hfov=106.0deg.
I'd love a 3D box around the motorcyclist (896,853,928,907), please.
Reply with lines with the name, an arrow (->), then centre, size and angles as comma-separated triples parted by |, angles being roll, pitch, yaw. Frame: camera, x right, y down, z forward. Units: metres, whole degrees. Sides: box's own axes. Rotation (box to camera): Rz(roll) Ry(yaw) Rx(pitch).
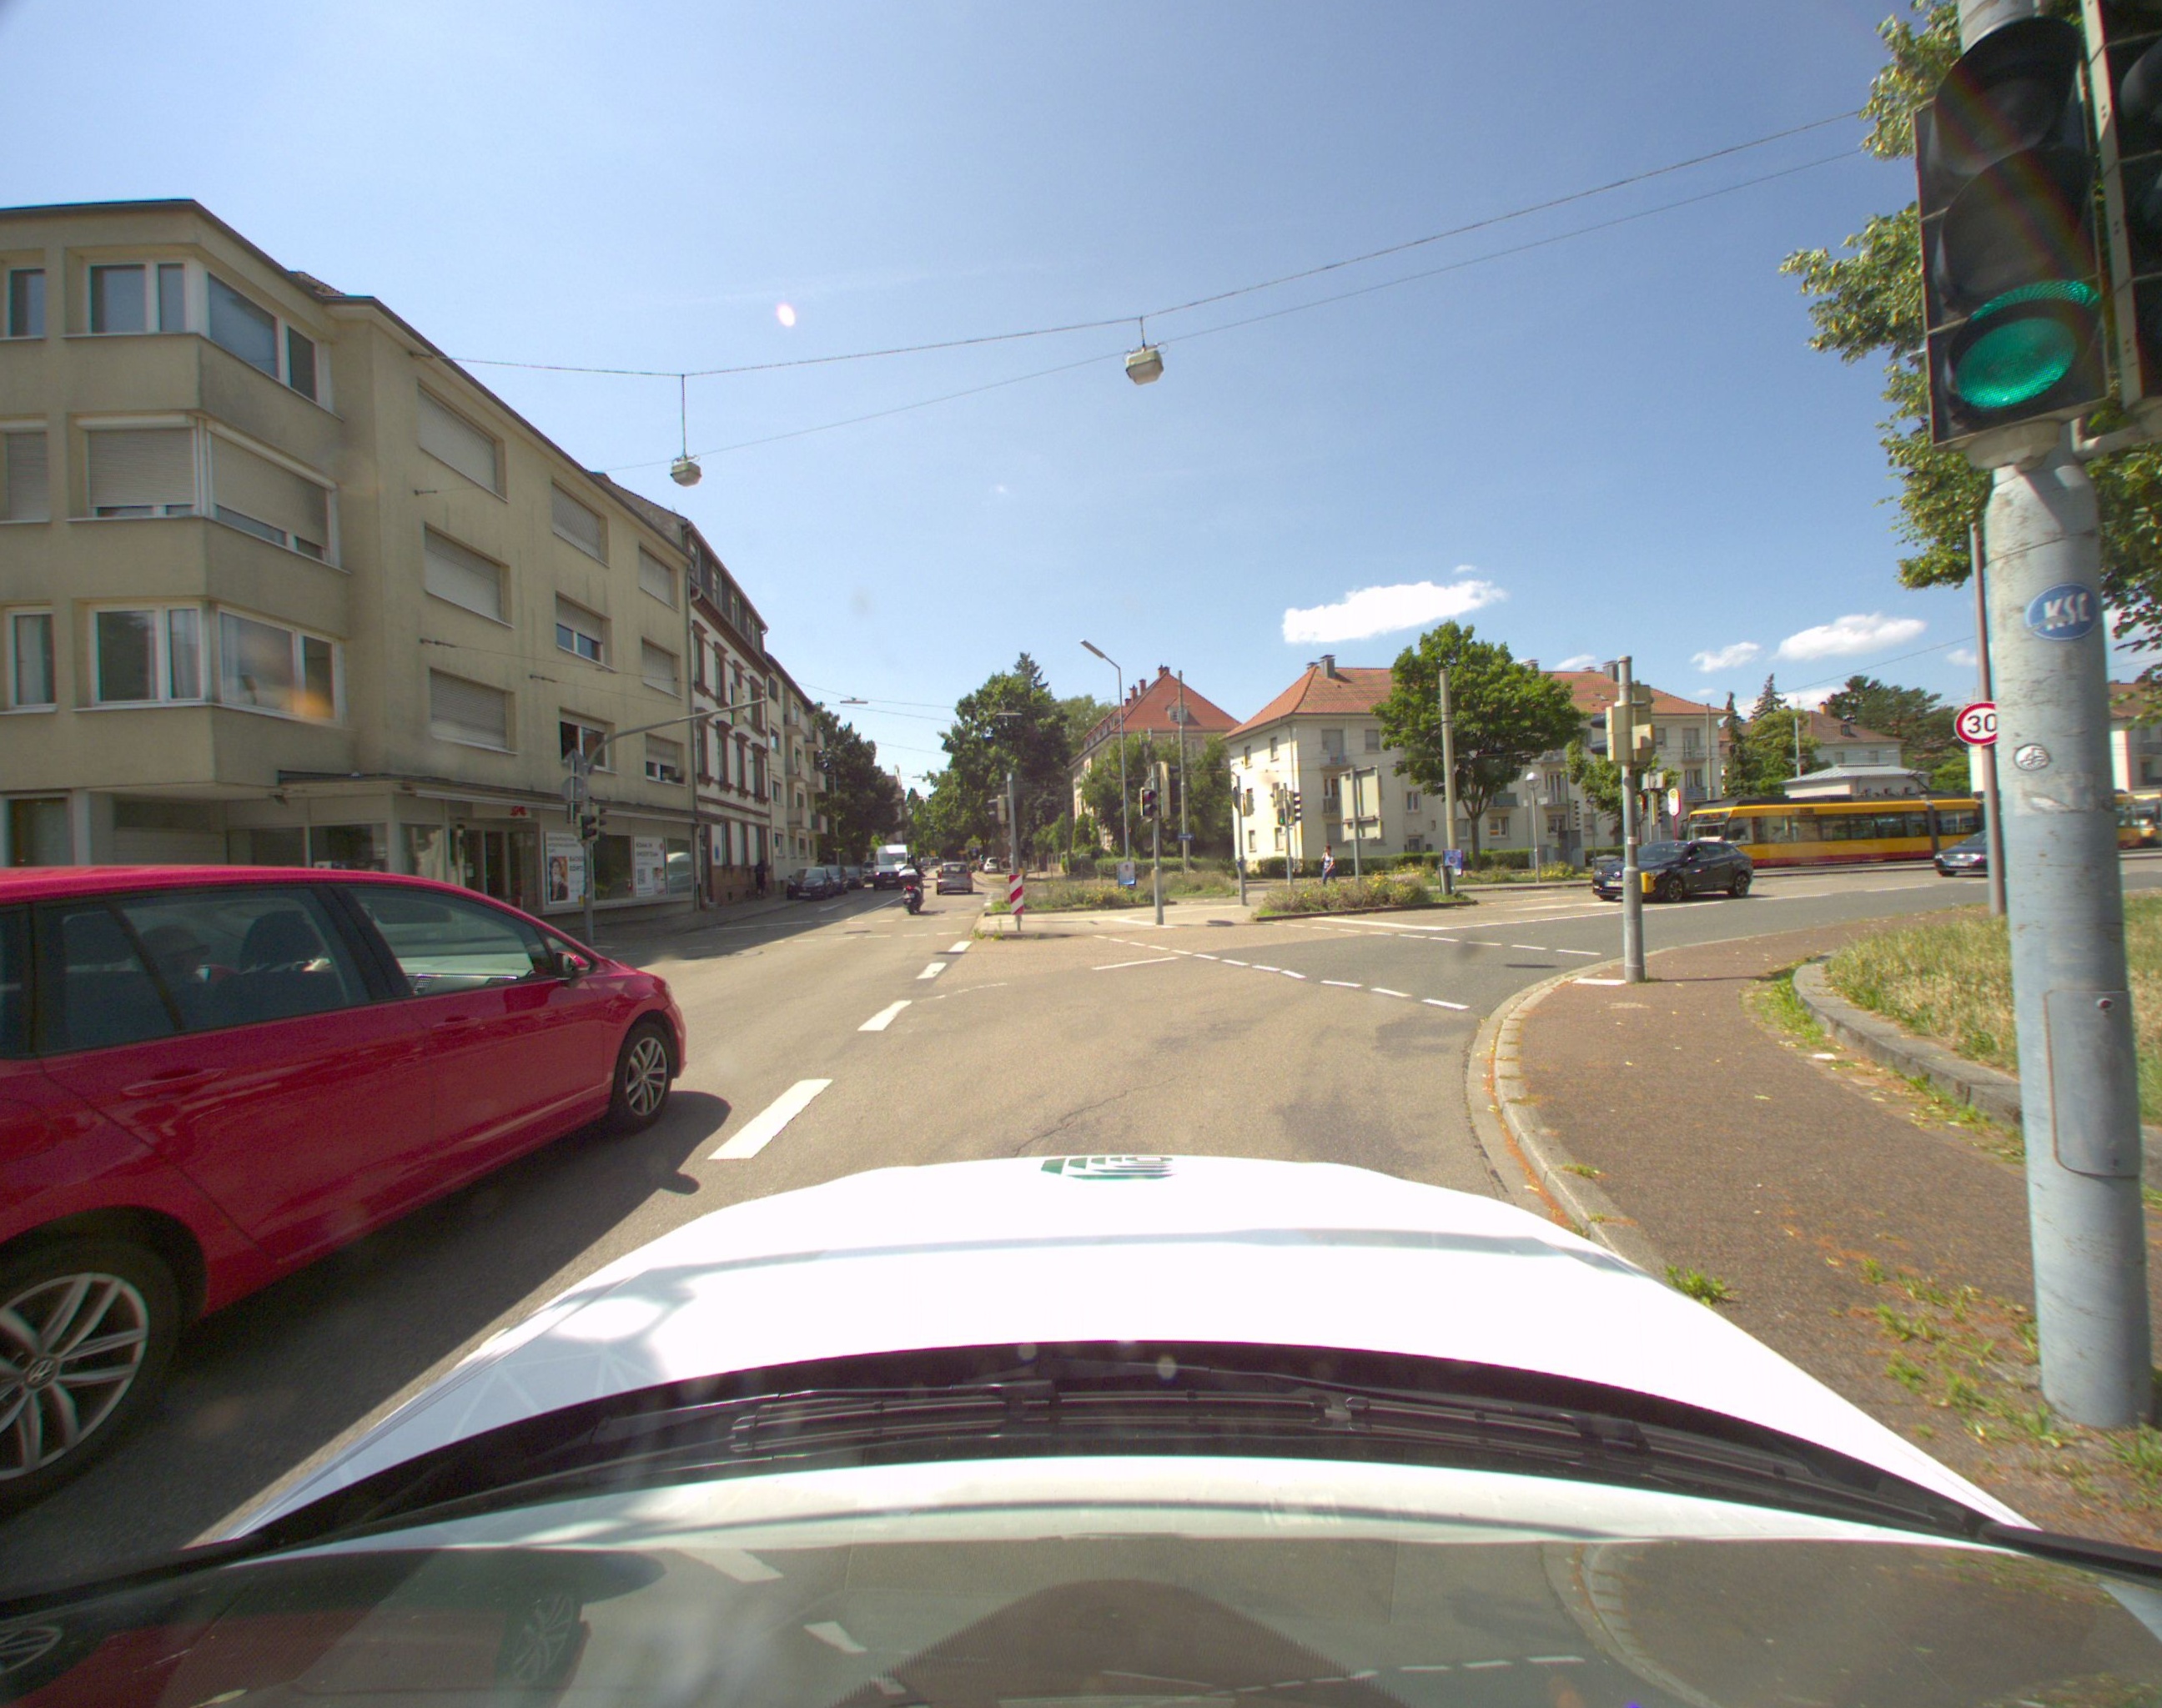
motorcyclist -> -4.685, 0.716, 22.642 | 0.710, 1.445, 1.017 | -2, 0, -7

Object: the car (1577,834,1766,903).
car -> 14.874, 0.322, 20.510 | 4.434, 1.500, 1.983 | -2, 0, -26

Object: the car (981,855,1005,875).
car -> -8.447, 1.046, 77.897 | 1.994, 1.807, 3.985 | -1, 0, -11

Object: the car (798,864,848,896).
car -> -13.326, 1.338, 42.224 | 1.994, 1.519, 3.984 | -1, -1, -11

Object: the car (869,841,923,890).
car -> -10.794, 0.675, 48.158 | 2.215, 2.501, 7.534 | -5, 0, -8

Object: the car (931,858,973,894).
car -> -5.989, 0.989, 38.028 | 1.798, 1.558, 4.025 | -2, 0, -9

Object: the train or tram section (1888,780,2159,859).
train or tram section -> 49.187, -1.808, 42.448 | 14.675, 3.568, 2.781 | -2, -1, -14

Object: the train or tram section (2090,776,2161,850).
train or tram section -> 64.717, -2.479, 46.291 | 15.520, 3.895, 2.781 | -2, -1, -14

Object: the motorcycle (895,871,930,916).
motorcycle -> -4.700, 1.070, 22.867 | 0.710, 1.134, 2.192 | -2, 0, -6

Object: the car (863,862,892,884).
car -> -16.745, 1.521, 67.137 | 1.797, 1.718, 4.027 | 1, -1, -7

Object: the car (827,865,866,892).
car -> -14.597, 1.509, 50.878 | 1.995, 1.510, 3.984 | -2, -1, -11

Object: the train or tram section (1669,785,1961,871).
train or tram section -> 35.216, -1.277, 39.019 | 14.152, 3.568, 2.805 | -2, -1, -14

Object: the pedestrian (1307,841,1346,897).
pedestrian -> 7.673, 0.453, 25.490 | 0.840, 1.705, 0.756 | -2, -1, -26

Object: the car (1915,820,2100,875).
car -> 29.068, -0.203, 25.598 | 4.503, 1.519, 1.990 | -2, 0, -14

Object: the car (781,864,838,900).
car -> -12.445, 1.289, 37.600 | 1.995, 1.519, 3.983 | -1, -1, -12

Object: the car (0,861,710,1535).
car -> -3.378, 0.834, 3.243 | 1.792, 1.558, 4.039 | -1, 0, 2

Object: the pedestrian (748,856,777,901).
pedestrian -> -14.114, 1.095, 36.122 | 0.935, 1.931, 0.973 | -2, -1, -11

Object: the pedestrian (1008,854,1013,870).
pedestrian -> -7.287, 0.840, 84.476 | 0.508, 1.656, 0.465 | -1, 0, -6

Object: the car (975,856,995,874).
car -> -10.772, 1.219, 91.127 | 1.994, 1.906, 3.985 | -1, 0, -11
